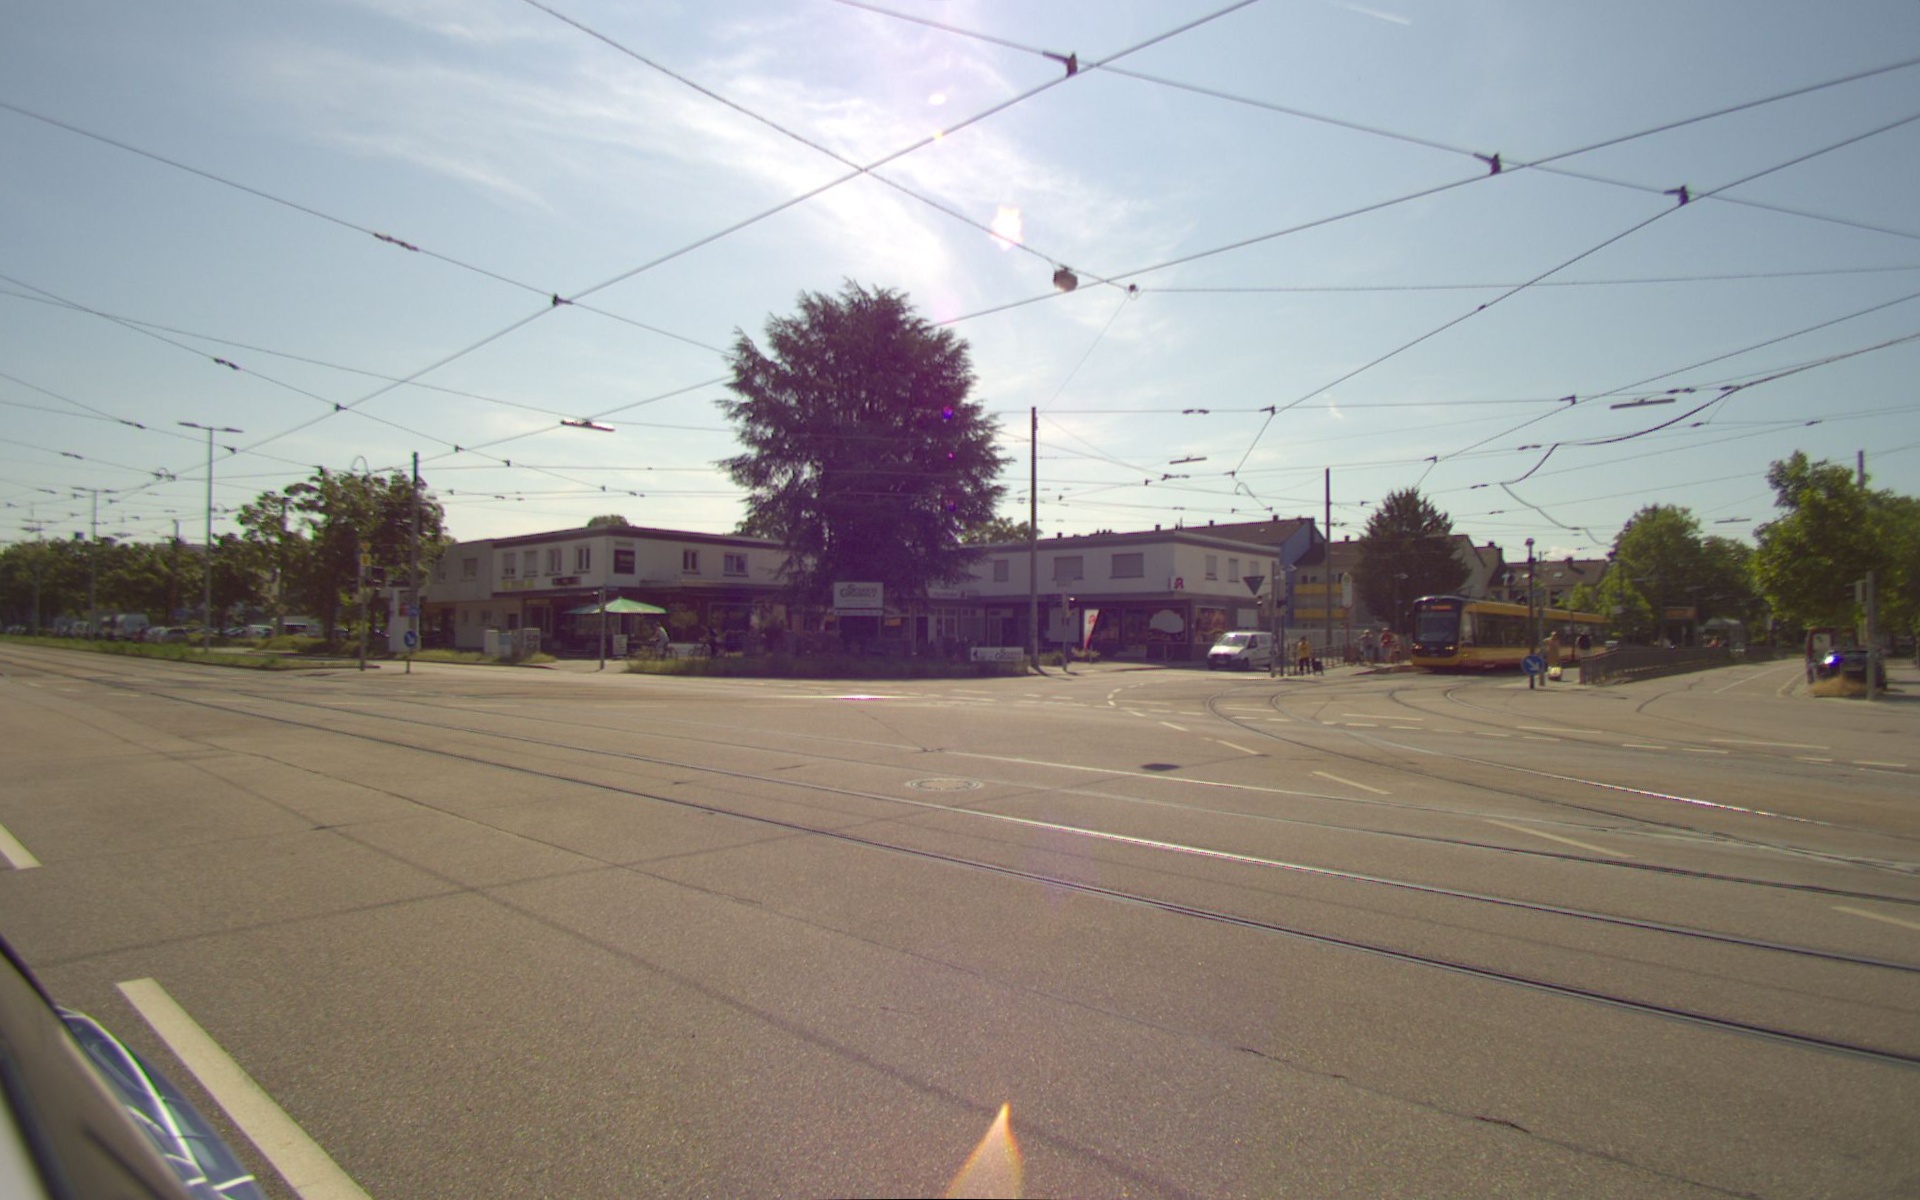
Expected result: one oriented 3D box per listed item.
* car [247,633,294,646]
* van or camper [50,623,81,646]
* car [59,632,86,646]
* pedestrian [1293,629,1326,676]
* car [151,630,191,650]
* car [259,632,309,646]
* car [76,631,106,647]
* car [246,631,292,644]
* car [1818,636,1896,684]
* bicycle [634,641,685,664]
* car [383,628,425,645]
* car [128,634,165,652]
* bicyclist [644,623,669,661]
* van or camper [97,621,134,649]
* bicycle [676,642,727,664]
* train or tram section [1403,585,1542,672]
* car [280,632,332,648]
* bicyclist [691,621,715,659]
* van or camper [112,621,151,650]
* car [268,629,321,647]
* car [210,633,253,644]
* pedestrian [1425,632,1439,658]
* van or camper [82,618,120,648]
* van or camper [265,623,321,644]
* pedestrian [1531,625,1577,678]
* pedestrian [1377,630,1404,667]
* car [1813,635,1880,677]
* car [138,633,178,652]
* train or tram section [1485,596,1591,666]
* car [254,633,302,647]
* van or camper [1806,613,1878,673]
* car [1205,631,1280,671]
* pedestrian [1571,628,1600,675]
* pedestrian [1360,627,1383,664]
[{"bbox_3d":[-69.127,3.995,101.456,1.711,1.291,3.578,-2,-3,40],"label":"car"},{"bbox_3d":[-108.078,4.175,122.317,5.451,2.639,2.086,-1,-4,42],"label":"van or camper"},{"bbox_3d":[-103.176,4.564,117.636,4.230,1.572,1.868,-2,-3,41],"label":"car"},{"bbox_3d":[14.264,2.135,41.287,0.896,1.852,1.185,-2,-3,42],"label":"pedestrian"},{"bbox_3d":[-64.533,3.267,82.759,4.285,1.506,1.867,-2,0,43],"label":"car"},{"bbox_3d":[-63.383,3.657,94.939,1.711,1.294,3.578,-2,-3,40],"label":"car"},{"bbox_3d":[-93.770,4.219,109.199,4.230,1.748,1.868,-2,-3,41],"label":"car"},{"bbox_3d":[-70.496,3.857,103.253,1.711,1.291,3.578,-2,-3,40],"label":"car"},{"bbox_3d":[29.865,1.967,33.778,1.827,1.512,4.129,-2,-3,41],"label":"car"},{"bbox_3d":[-12.695,2.213,42.770,2.119,0.954,0.532,0,-3,19],"label":"bicycle"},{"bbox_3d":[-60.213,3.952,109.620,1.711,1.791,3.578,-2,-3,40],"label":"car"},{"bbox_3d":[-72.210,3.793,89.822,4.230,1.506,1.868,-2,-3,41],"label":"car"},{"bbox_3d":[-12.838,1.779,42.844,0.760,1.570,0.627,0,-3,22],"label":"bicyclist"},{"bbox_3d":[-81.737,3.387,97.925,4.837,2.652,2.013,-2,-3,41],"label":"van or camper"},{"bbox_3d":[-10.939,2.233,42.843,2.119,0.897,0.572,-1,-3,19],"label":"bicycle"},{"bbox_3d":[25.156,1.466,49.098,2.767,3.686,13.718,-2,-3,41],"label":"train or tram section"},{"bbox_3d":[-59.496,3.636,92.104,1.711,1.372,3.578,-2,-3,40],"label":"car"},{"bbox_3d":[-10.893,1.676,42.887,0.761,1.587,0.627,-1,-3,22],"label":"bicyclist"},{"bbox_3d":[-76.411,3.273,93.303,4.837,2.652,2.013,-2,-3,41],"label":"van or camper"},{"bbox_3d":[-61.503,3.542,93.561,1.949,1.581,3.702,-2,-3,40],"label":"car"},{"bbox_3d":[-81.367,4.308,113.074,1.711,1.291,3.578,-2,-3,40],"label":"car"},{"bbox_3d":[35.914,3.442,76.967,0.767,1.980,0.851,-2,-3,40],"label":"pedestrian"},{"bbox_3d":[-87.602,3.346,103.211,5.279,3.008,2.100,-2,-3,41],"label":"van or camper"},{"bbox_3d":[-91.547,4.607,139.024,2.300,2.751,5.999,-2,-3,43],"label":"van or camper"},{"bbox_3d":[21.419,1.860,36.482,1.123,1.850,1.418,-2,-3,44],"label":"pedestrian"},{"bbox_3d":[20.115,2.261,47.279,0.813,1.693,1.079,-2,-3,42],"label":"pedestrian"},{"bbox_3d":[33.780,2.127,38.617,1.827,1.512,3.945,-2,-3,41],"label":"car"},{"bbox_3d":[-68.362,3.634,86.252,4.283,1.572,1.868,-2,-3,41],"label":"car"},{"bbox_3d":[34.161,1.901,59.457,2.767,3.686,13.718,-2,-3,41],"label":"train or tram section"},{"bbox_3d":[-66.826,3.924,99.216,1.811,1.291,3.578,-2,-3,40],"label":"car"},{"bbox_3d":[41.019,1.998,47.150,2.374,2.644,4.825,-2,-3,40],"label":"van or camper"},{"bbox_3d":[14.008,2.507,50.028,1.776,1.876,4.595,-2,-3,41],"label":"car"},{"bbox_3d":[24.156,1.983,39.085,0.799,1.773,0.764,3,-3,-43],"label":"pedestrian"},{"bbox_3d":[18.392,2.022,45.231,0.785,1.639,0.651,-2,-3,42],"label":"pedestrian"}]
